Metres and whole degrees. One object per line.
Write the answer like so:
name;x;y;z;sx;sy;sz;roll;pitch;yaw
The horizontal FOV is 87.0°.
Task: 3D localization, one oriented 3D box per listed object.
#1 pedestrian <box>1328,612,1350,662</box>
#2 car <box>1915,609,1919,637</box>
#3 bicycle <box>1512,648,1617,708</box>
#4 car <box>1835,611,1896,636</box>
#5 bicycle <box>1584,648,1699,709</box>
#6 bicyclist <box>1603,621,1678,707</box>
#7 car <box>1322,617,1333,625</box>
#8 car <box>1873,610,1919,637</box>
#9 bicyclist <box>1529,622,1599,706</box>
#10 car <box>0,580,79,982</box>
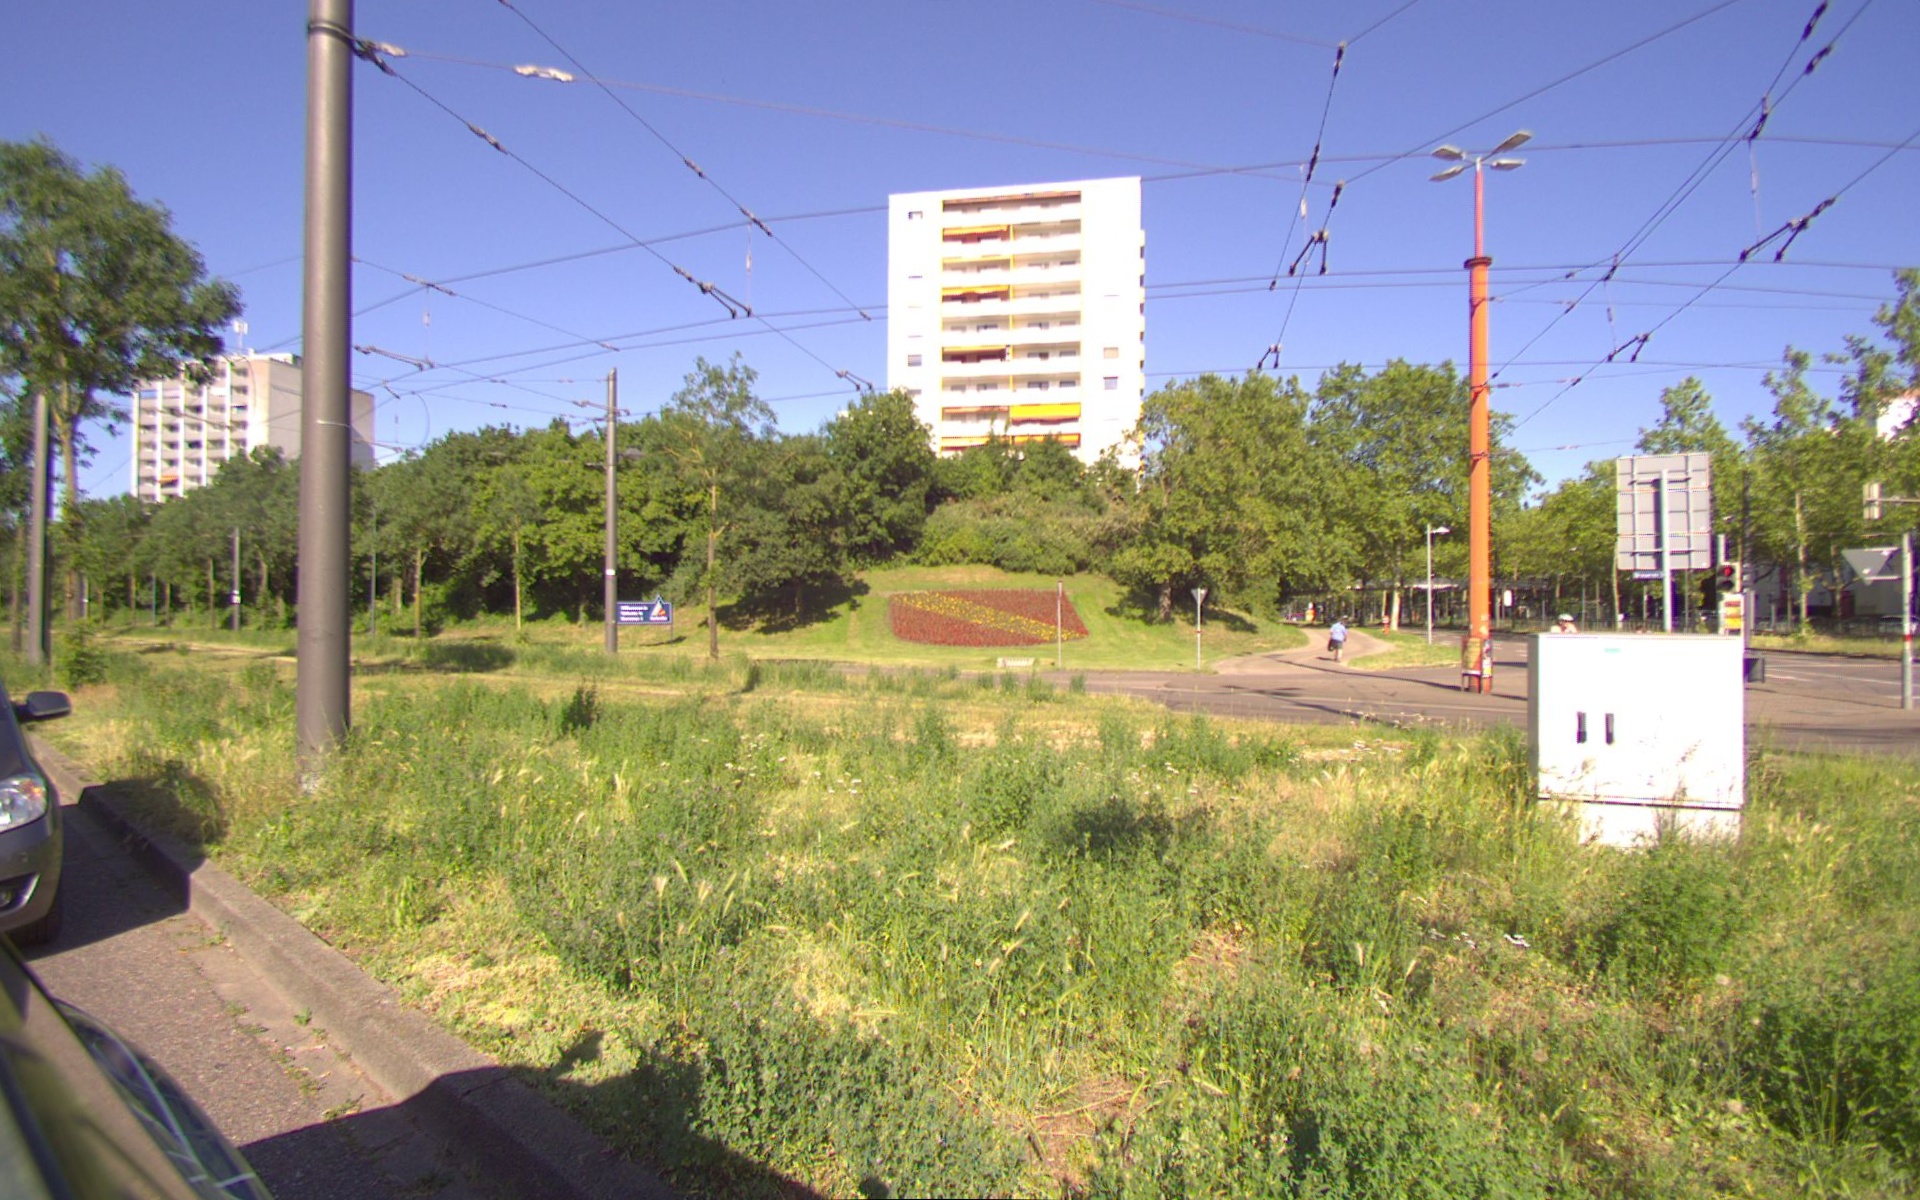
pedestrian;14.983;1.455;40.014;0.729;1.949;0.726;-1;-2;24
car;64.404;1.505;65.903;3.931;1.829;2.006;0;-2;-27
bicycle;12.090;1.536;20.317;0.915;1.095;1.888;0;-1;-2
car;66.014;1.699;73.762;3.931;1.829;2.006;0;-2;-27
bicycle;13.355;1.521;19.915;0.915;1.095;1.888;0;-1;-2
bicyclist;13.352;1.241;19.882;0.920;1.650;0.741;0;-1;-1
car;72.646;4.214;200.090;1.928;1.606;3.882;-1;-1;20
car;65.246;1.643;69.866;3.931;1.829;2.006;0;-2;-27
bicyclist;12.094;1.258;20.301;0.920;1.650;0.741;0;-1;-1
car;-5.942;0.754;5.043;4.382;1.619;1.754;-1;-2;41
